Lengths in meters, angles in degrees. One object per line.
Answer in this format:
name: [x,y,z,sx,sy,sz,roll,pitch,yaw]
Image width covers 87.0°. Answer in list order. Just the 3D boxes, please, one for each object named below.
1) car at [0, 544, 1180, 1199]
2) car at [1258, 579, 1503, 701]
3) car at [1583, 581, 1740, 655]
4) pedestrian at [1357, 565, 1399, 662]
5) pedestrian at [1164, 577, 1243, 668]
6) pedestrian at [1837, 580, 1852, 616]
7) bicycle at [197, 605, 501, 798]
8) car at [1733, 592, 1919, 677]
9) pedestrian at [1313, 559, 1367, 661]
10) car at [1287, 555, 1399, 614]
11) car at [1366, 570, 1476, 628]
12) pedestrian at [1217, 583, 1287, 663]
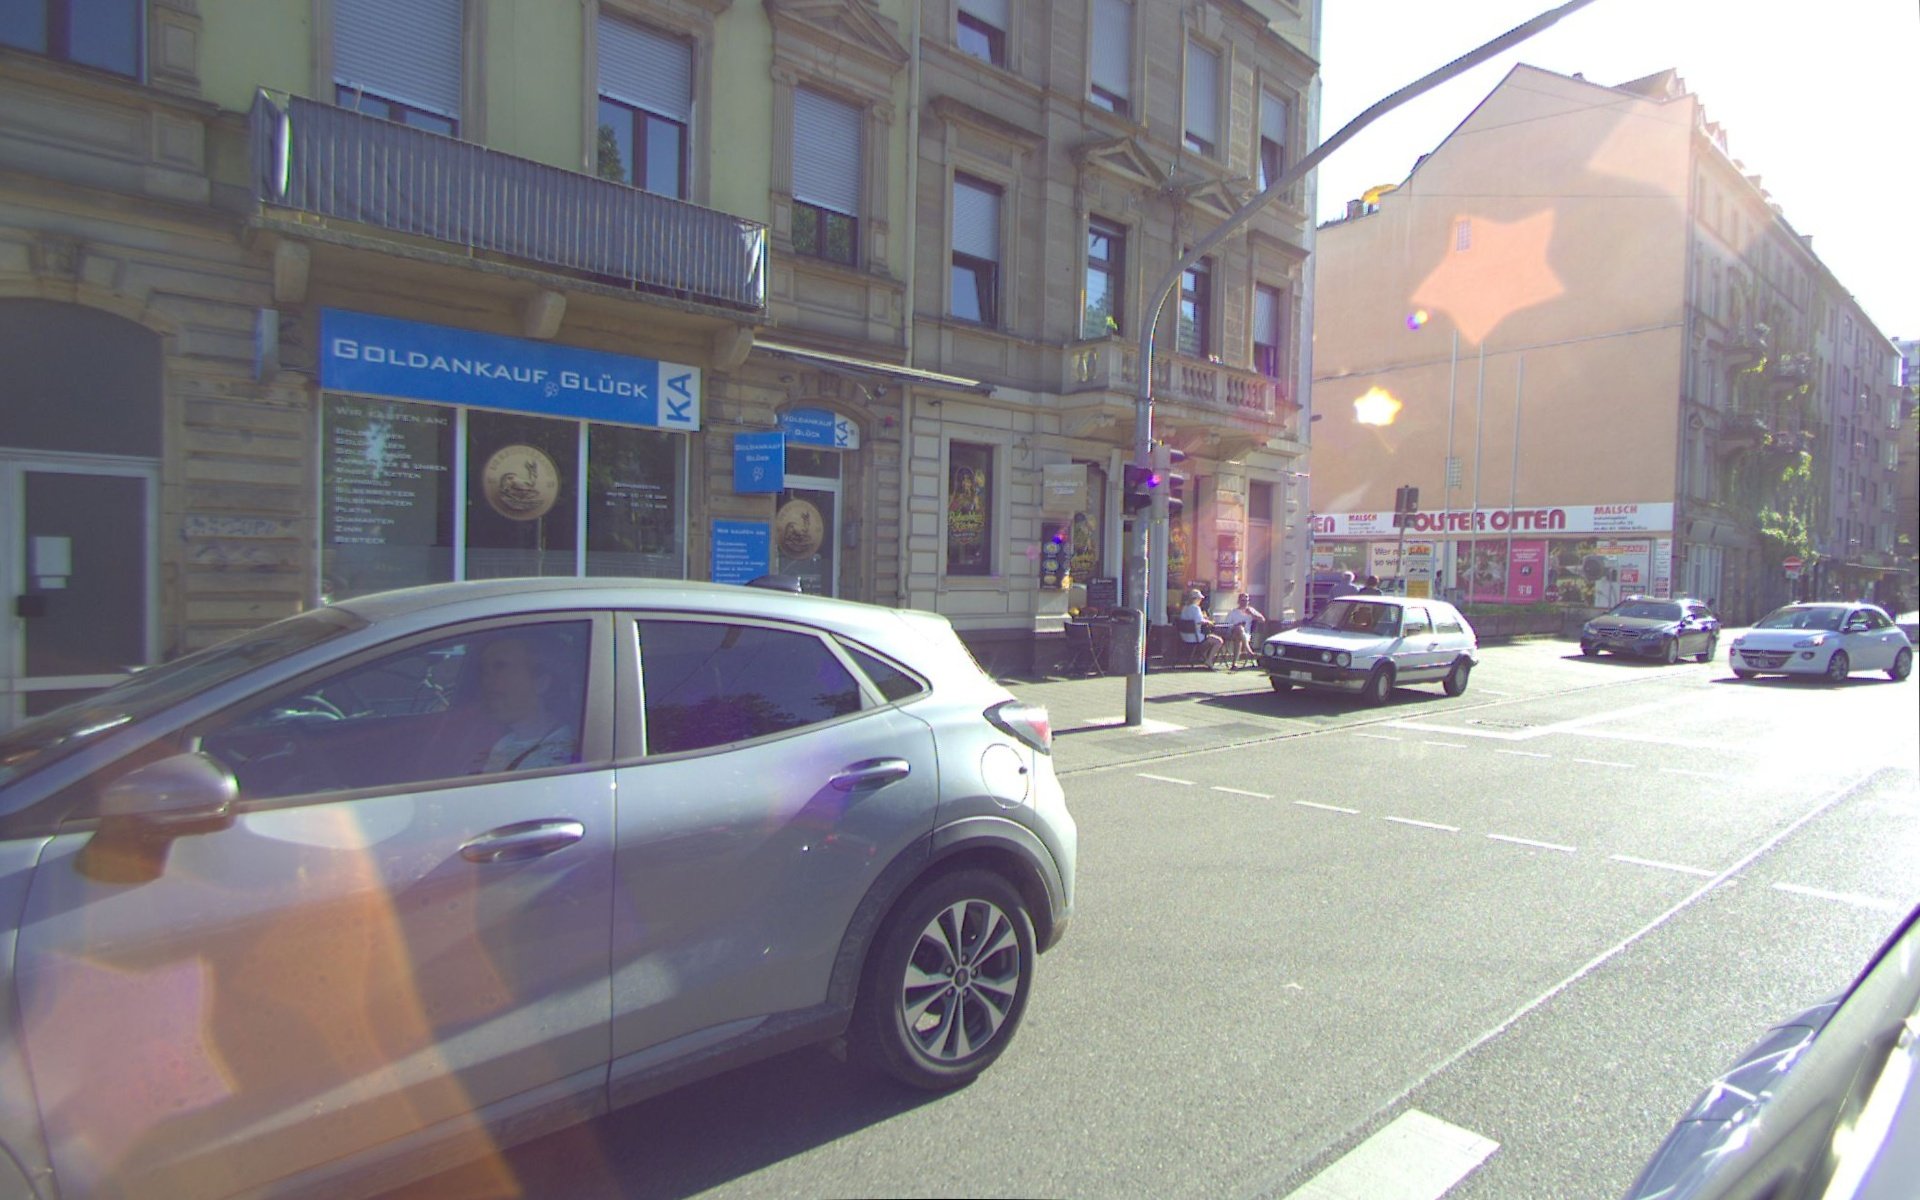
car: [-1.435,0.662,2.808,4.302,1.547,1.701,0,1,-39]
car: [6.177,0.485,14.703,3.933,1.432,1.567,0,5,-40]
car: [17.095,0.376,24.588,4.649,1.505,1.838,0,5,-39]
pedestrian: [7.625,0.236,18.468,0.381,1.729,0.551,0,2,-37]
pedestrian: [3.970,0.340,16.509,0.645,1.389,1.015,0,3,-44]
pedestrian: [45.846,-0.089,52.460,0.507,1.856,0.469,0,2,-40]
bicycle: [-4.117,0.628,6.918,1.724,1.173,0.450,0,1,-34]
car: [17.012,0.599,19.650,3.703,1.472,1.611,-1,1,-24]
pedestrian: [7.109,0.171,18.933,0.521,1.828,0.675,0,4,-40]
car: [10.501,-0.422,27.640,3.338,1.504,1.559,0,2,-44]
car: [14.262,-0.074,31.215,3.934,1.665,1.747,-1,2,-44]
pedestrian: [5.026,0.379,17.457,0.645,1.297,0.902,0,4,-44]
